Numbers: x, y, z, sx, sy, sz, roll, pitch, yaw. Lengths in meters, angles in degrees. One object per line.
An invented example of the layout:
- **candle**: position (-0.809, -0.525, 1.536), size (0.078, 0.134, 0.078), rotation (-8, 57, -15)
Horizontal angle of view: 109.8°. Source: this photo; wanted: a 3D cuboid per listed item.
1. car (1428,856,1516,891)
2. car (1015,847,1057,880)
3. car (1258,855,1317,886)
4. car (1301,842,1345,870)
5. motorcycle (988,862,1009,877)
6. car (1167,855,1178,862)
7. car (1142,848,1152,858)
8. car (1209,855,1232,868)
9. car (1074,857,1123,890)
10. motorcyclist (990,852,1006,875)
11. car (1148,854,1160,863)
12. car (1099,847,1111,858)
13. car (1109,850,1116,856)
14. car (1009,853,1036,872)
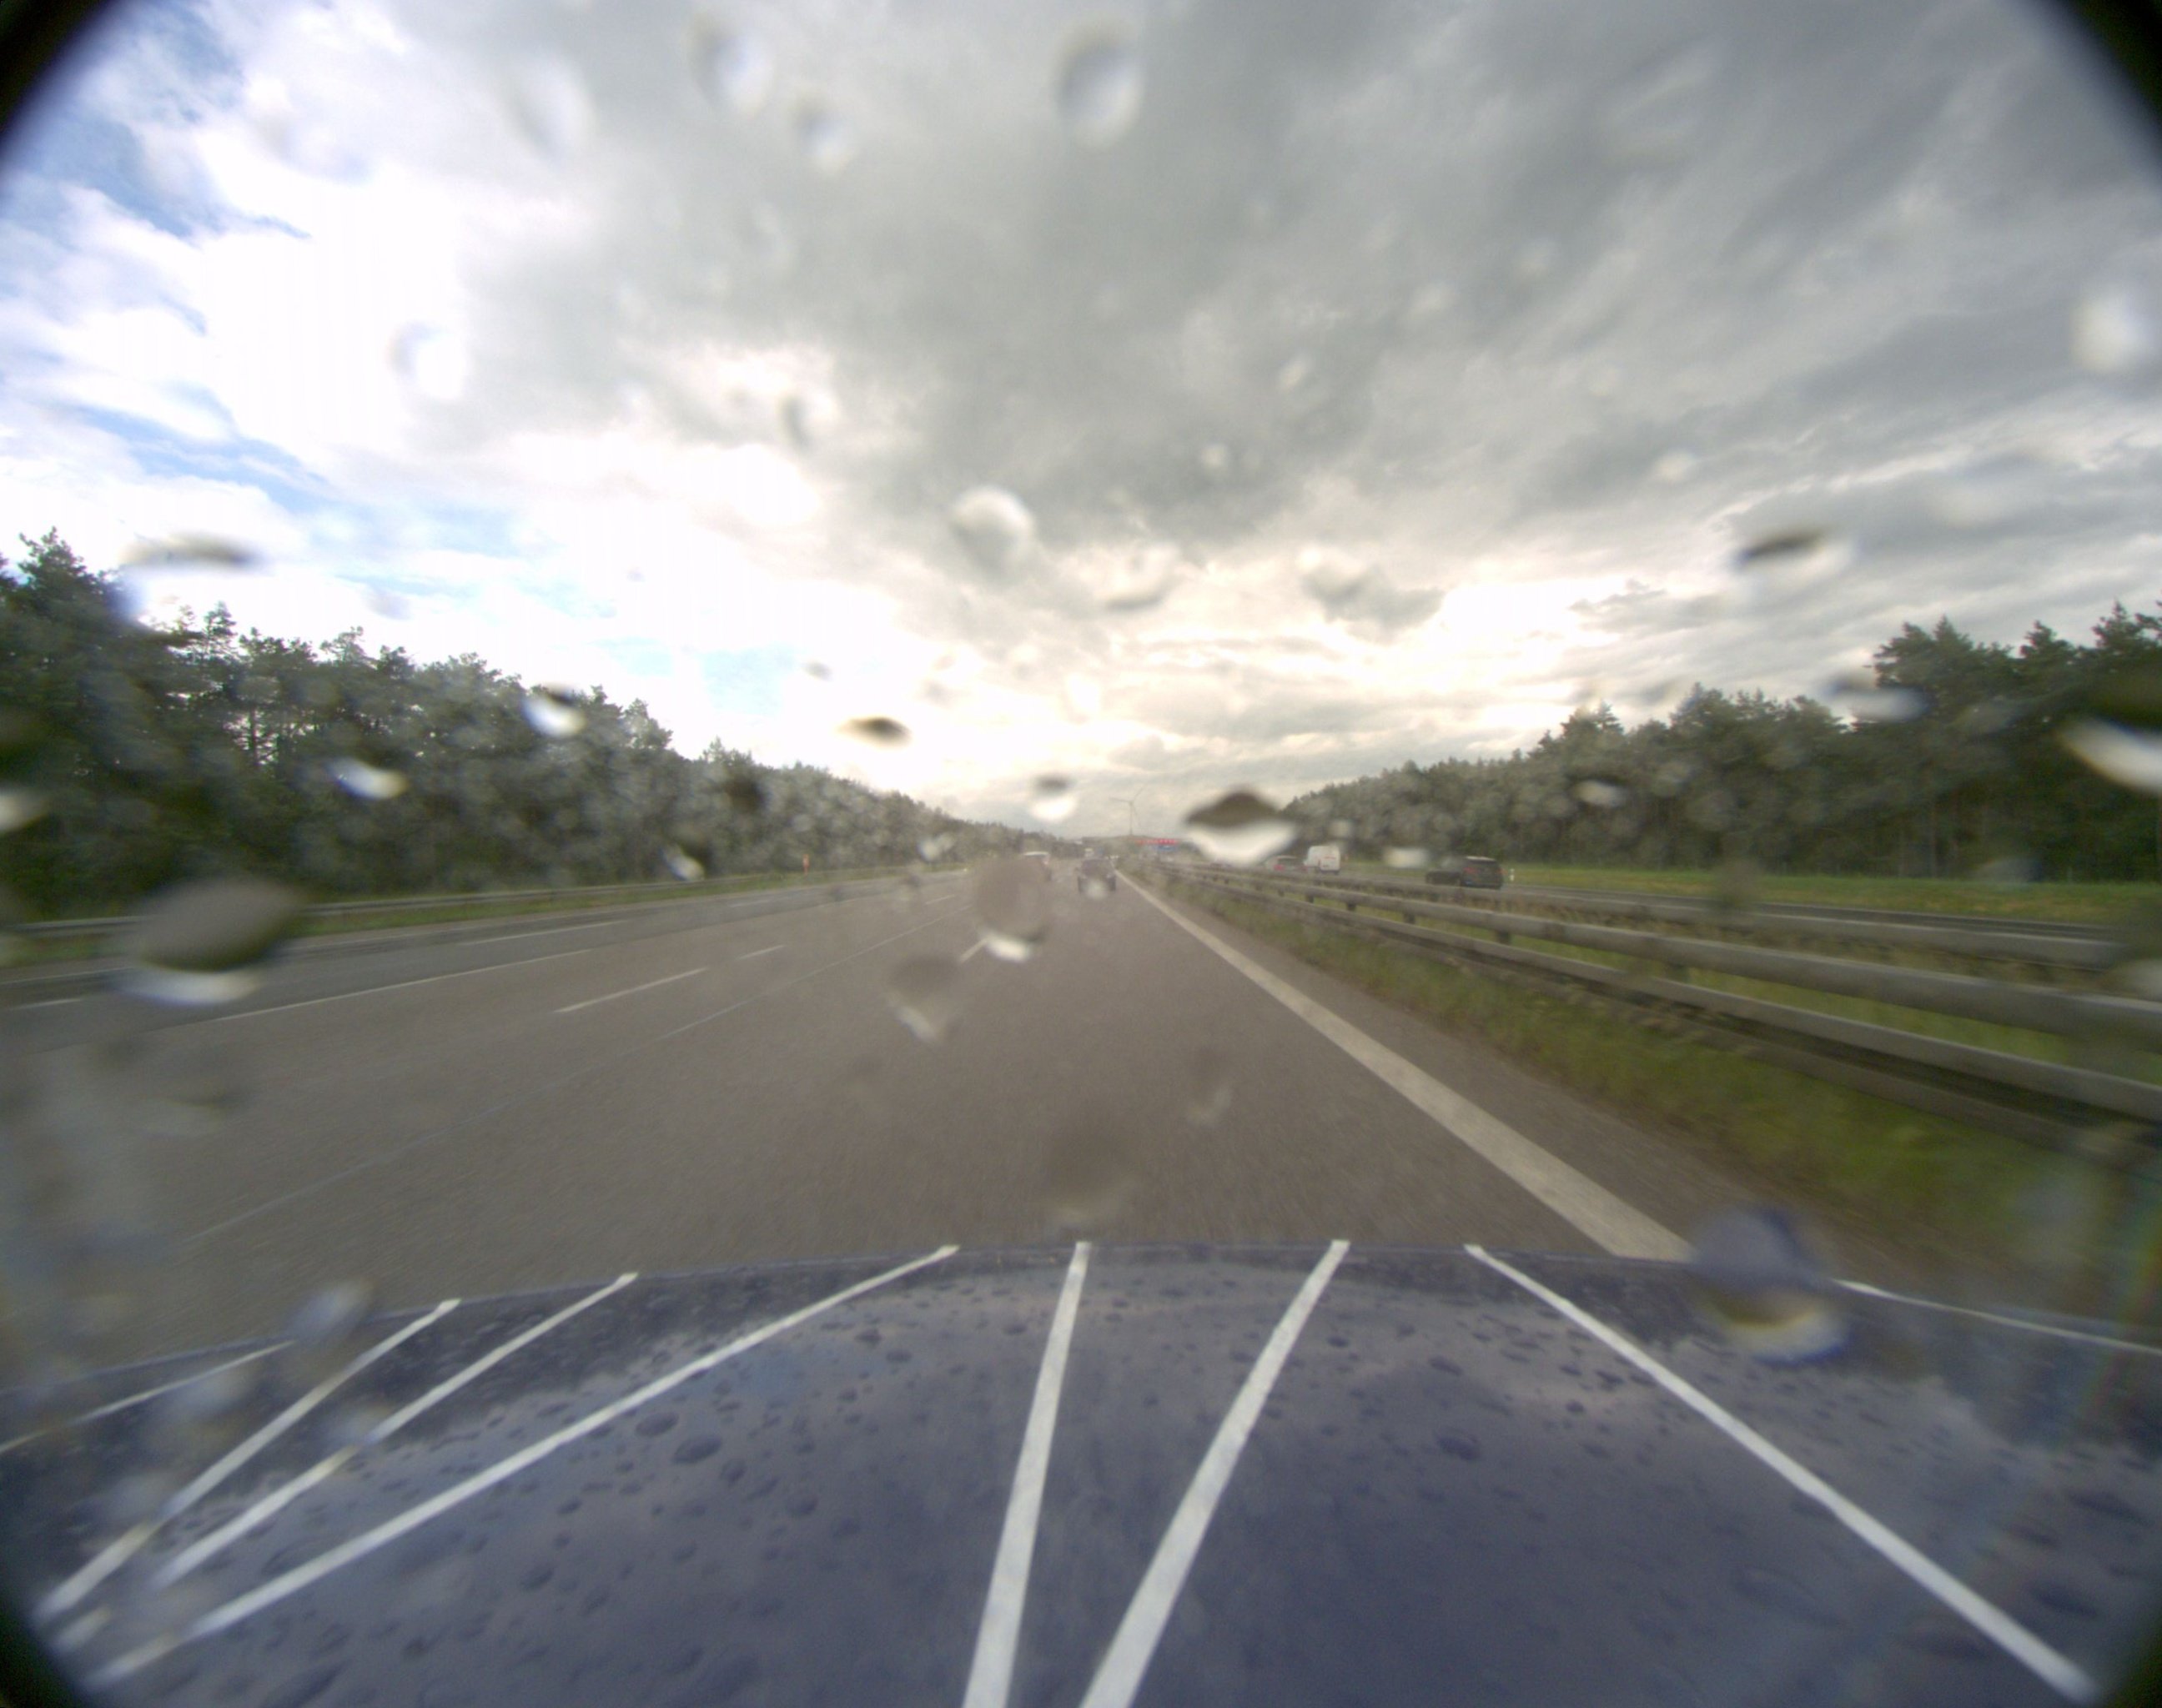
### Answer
- **car**: position (17.610, 0.849, 34.452), size (1.879, 1.463, 3.999), rotation (0, 0, -1)
- **car**: position (-2.745, 0.563, 47.507), size (1.968, 1.890, 4.883), rotation (-1, 0, 5)
- **car**: position (10.411, 0.800, 38.561), size (1.879, 1.423, 3.999), rotation (0, 0, -1)
- **car**: position (22.612, 0.194, 71.386), size (2.103, 2.496, 6.584), rotation (1, 0, 1)
- **motorcycle**: position (-5.726, 1.065, 52.729), size (1.002, 1.025, 2.174), rotation (-1, 0, 4)
- **car**: position (17.289, 0.845, 144.015), size (1.702, 1.479, 4.000), rotation (0, 0, 1)
- **car**: position (14.532, -0.238, 167.346), size (1.998, 2.002, 4.626), rotation (0, 0, 1)
- **car**: position (15.107, 0.837, 82.291), size (1.702, 1.317, 4.668), rotation (1, 0, 1)
- **car**: position (0.853, 0.832, 34.055), size (1.809, 1.321, 4.433), rotation (-1, 0, 6)
- **motorcyclist**: position (-5.734, 0.641, 52.714), size (0.893, 1.605, 0.959), rotation (-1, 1, 4)
- **car**: position (12.841, 0.740, 133.192), size (1.775, 1.530, 4.000), rotation (0, 0, 1)
- **car**: position (4.279, -0.260, 135.174), size (1.998, 2.002, 4.000), rotation (-3, 0, 0)
- **car**: position (10.271, -0.346, 248.510), size (2.179, 2.002, 4.362), rotation (-2, 0, 1)
- **car**: position (-6.868, 0.981, 89.677), size (1.997, 2.002, 5.486), rotation (-2, 0, 7)
